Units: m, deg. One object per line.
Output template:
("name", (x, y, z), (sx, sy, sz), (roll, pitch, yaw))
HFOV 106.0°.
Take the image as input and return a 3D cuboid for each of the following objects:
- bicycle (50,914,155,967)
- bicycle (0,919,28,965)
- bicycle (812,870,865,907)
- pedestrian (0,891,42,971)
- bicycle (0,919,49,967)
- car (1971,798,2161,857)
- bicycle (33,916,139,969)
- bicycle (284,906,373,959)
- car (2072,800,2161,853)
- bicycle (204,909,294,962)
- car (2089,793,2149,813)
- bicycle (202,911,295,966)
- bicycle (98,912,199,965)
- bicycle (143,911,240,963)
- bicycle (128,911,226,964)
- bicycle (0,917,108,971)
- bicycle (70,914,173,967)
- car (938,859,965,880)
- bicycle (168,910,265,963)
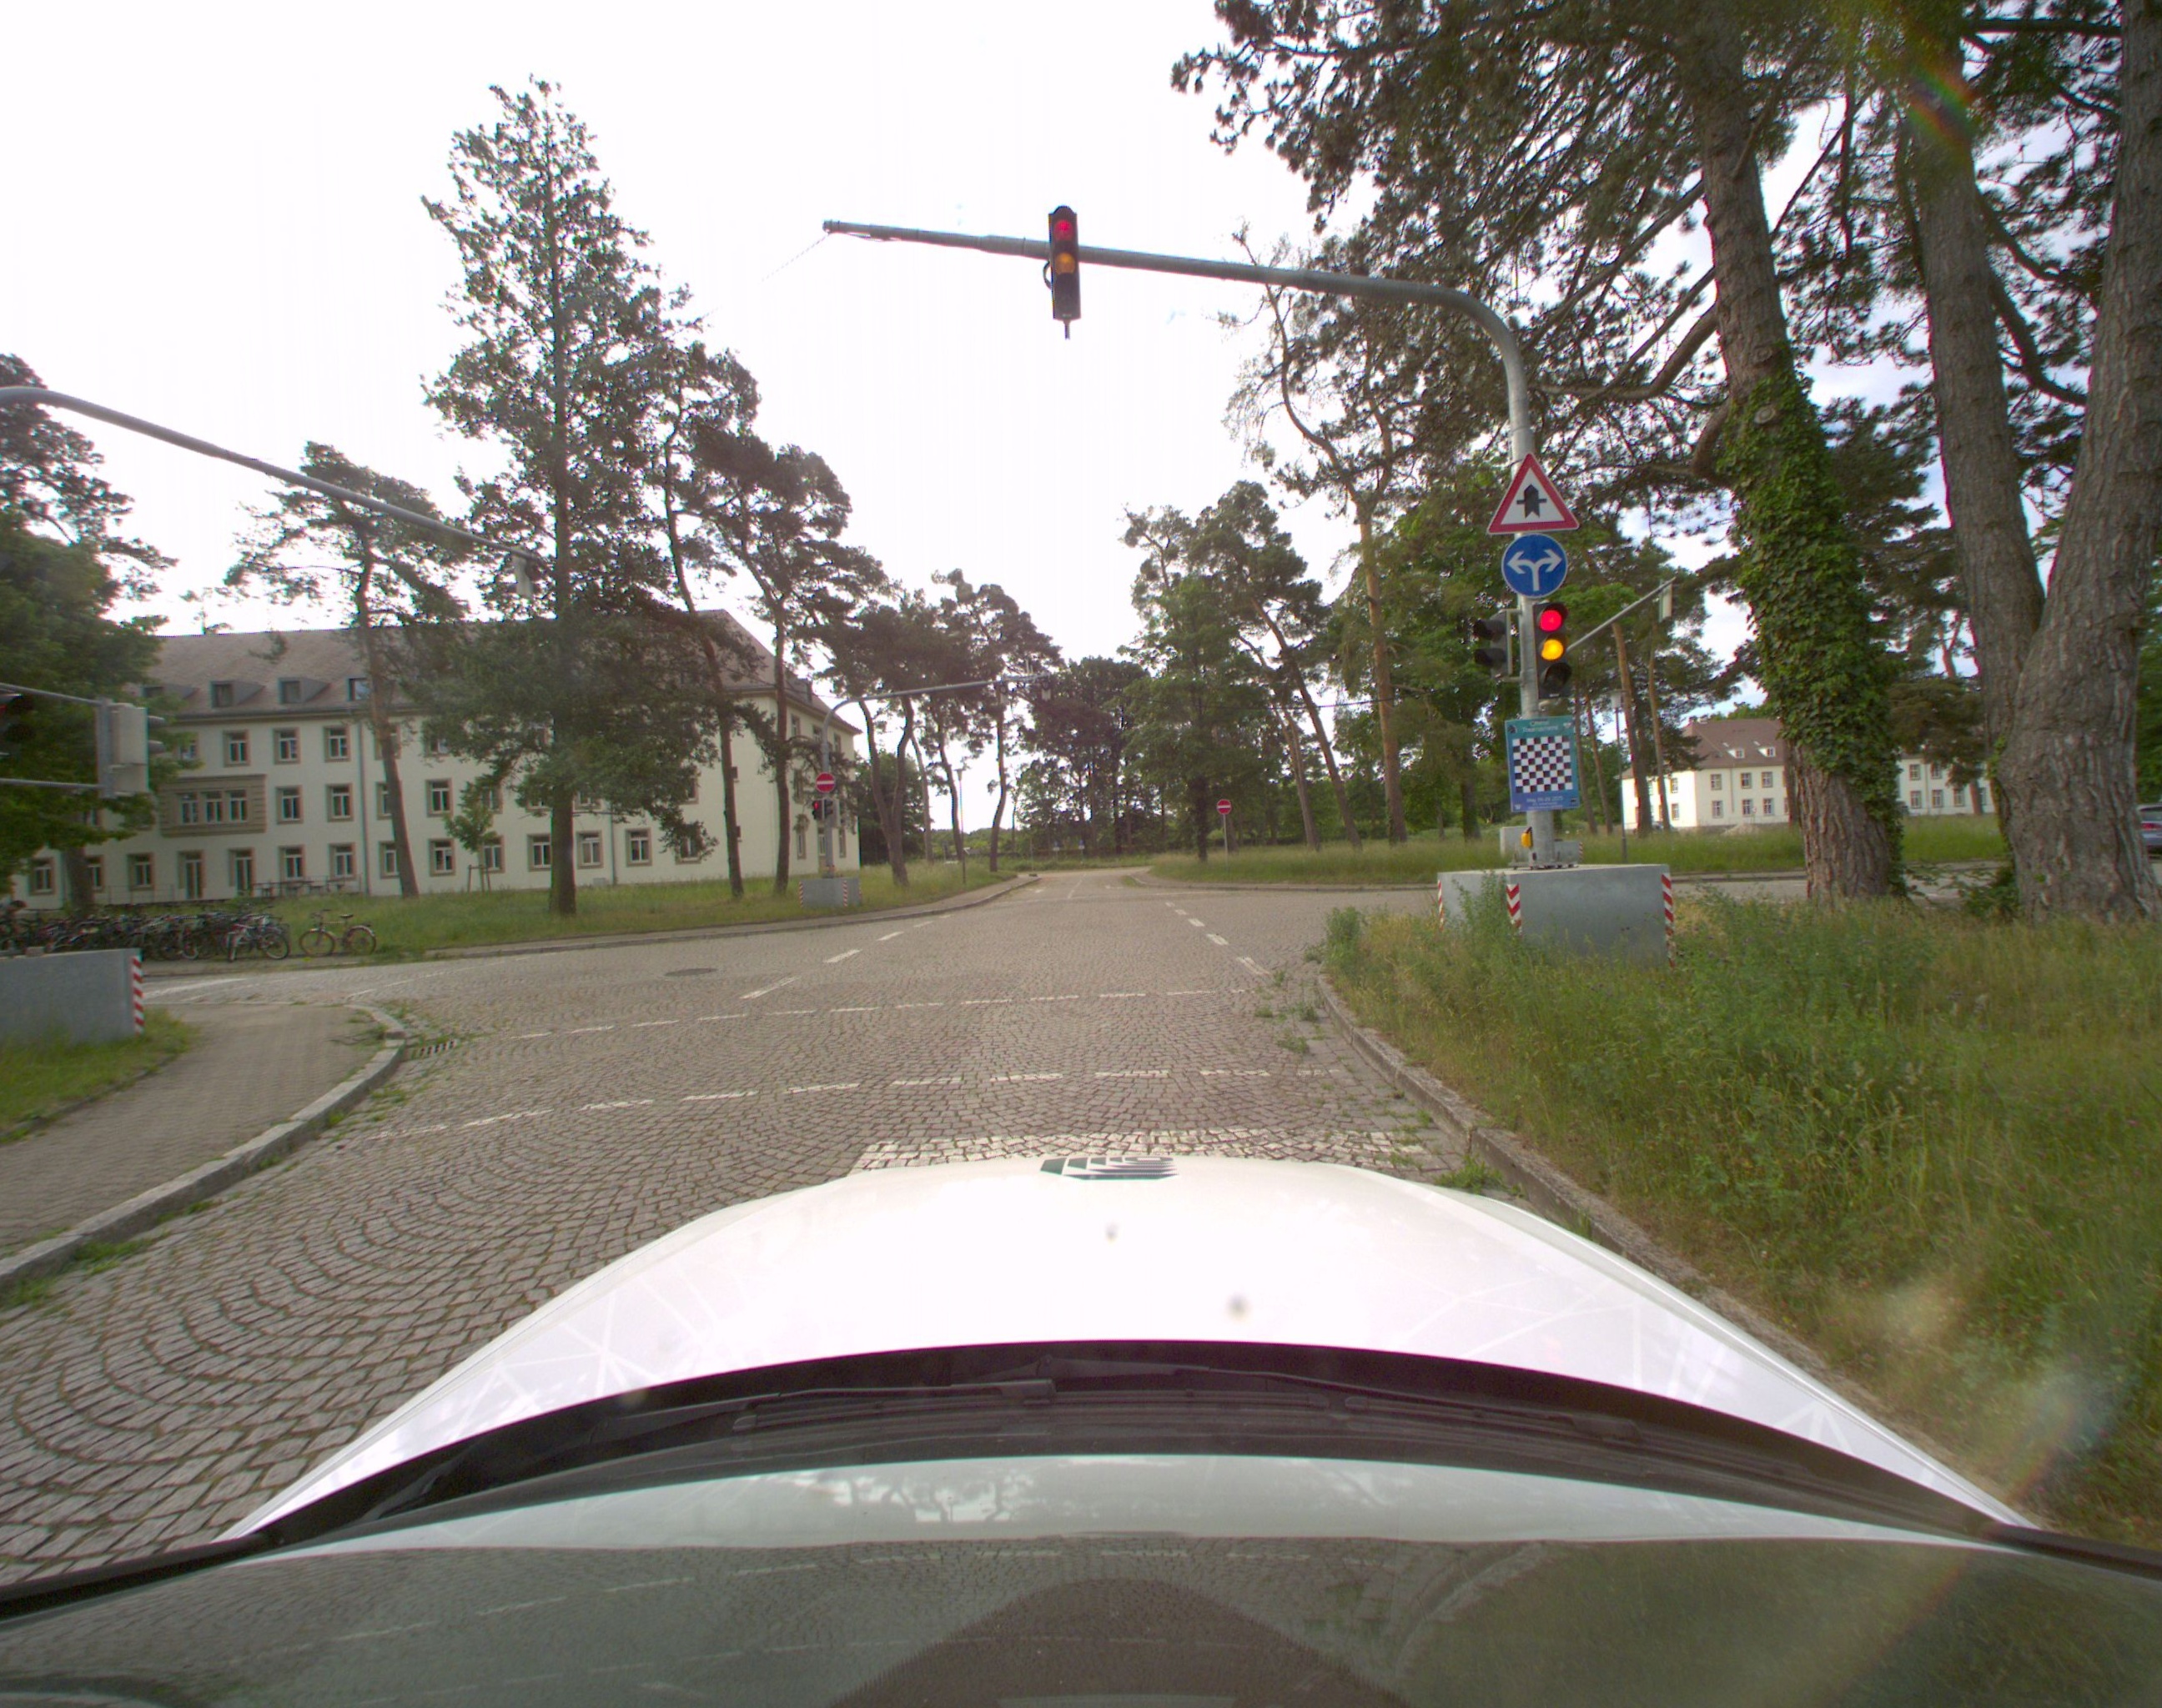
("bicycle", (-23.424, 2.056, 19.542), (0.512, 1.079, 1.586), (-3, 0, 2))
("bicycle", (-26.632, 2.184, 19.573), (0.512, 1.079, 1.586), (-3, 0, 2))
("bicycle", (-7.746, 1.104, 26.016), (1.460, 1.065, 0.516), (-3, 1, -1))
("pedestrian", (-25.230, 1.809, 18.889), (1.050, 1.788, 1.165), (-2, 2, 29))
("bicycle", (-26.131, 2.172, 19.581), (0.512, 1.079, 1.586), (-3, 0, 2))
("car", (28.516, -0.734, 23.223), (1.727, 1.509, 4.246), (-2, 0, 3))
("bicycle", (-23.808, 2.094, 19.536), (0.512, 1.079, 1.586), (-3, 0, 2))
("bicycle", (-16.955, 1.761, 18.361), (1.460, 1.065, 0.516), (-3, 0, -1))
("car", (31.129, -0.806, 22.778), (1.727, 1.468, 4.246), (-2, 0, 3))
("bicycle", (-19.979, 1.939, 19.592), (0.513, 1.079, 1.584), (-3, 0, -1))
("car", (109.728, -5.337, 86.117), (4.049, 1.905, 1.927), (-1, 0, -2))
("bicycle", (-18.590, 1.874, 18.202), (1.460, 1.079, 0.516), (-3, 0, -1))
("bicycle", (-22.351, 2.005, 19.565), (0.512, 1.079, 1.586), (-3, 0, 2))
("bicycle", (-21.360, 1.971, 19.603), (0.512, 1.079, 1.586), (-3, 0, 2))
("bicycle", (-21.721, 1.980, 19.609), (0.512, 1.079, 1.586), (-3, 0, 2))
("bicycle", (-24.604, 2.130, 19.540), (0.512, 1.079, 1.586), (-3, 0, 2))
("bicycle", (-22.973, 2.042, 19.547), (0.512, 1.079, 1.586), (-3, 0, 2))
("car", (-12.065, 1.461, 76.146), (1.988, 1.846, 3.997), (-1, 0, -2))
("bicycle", (-20.658, 1.955, 19.507), (0.512, 1.079, 1.587), (-3, 0, 4))
